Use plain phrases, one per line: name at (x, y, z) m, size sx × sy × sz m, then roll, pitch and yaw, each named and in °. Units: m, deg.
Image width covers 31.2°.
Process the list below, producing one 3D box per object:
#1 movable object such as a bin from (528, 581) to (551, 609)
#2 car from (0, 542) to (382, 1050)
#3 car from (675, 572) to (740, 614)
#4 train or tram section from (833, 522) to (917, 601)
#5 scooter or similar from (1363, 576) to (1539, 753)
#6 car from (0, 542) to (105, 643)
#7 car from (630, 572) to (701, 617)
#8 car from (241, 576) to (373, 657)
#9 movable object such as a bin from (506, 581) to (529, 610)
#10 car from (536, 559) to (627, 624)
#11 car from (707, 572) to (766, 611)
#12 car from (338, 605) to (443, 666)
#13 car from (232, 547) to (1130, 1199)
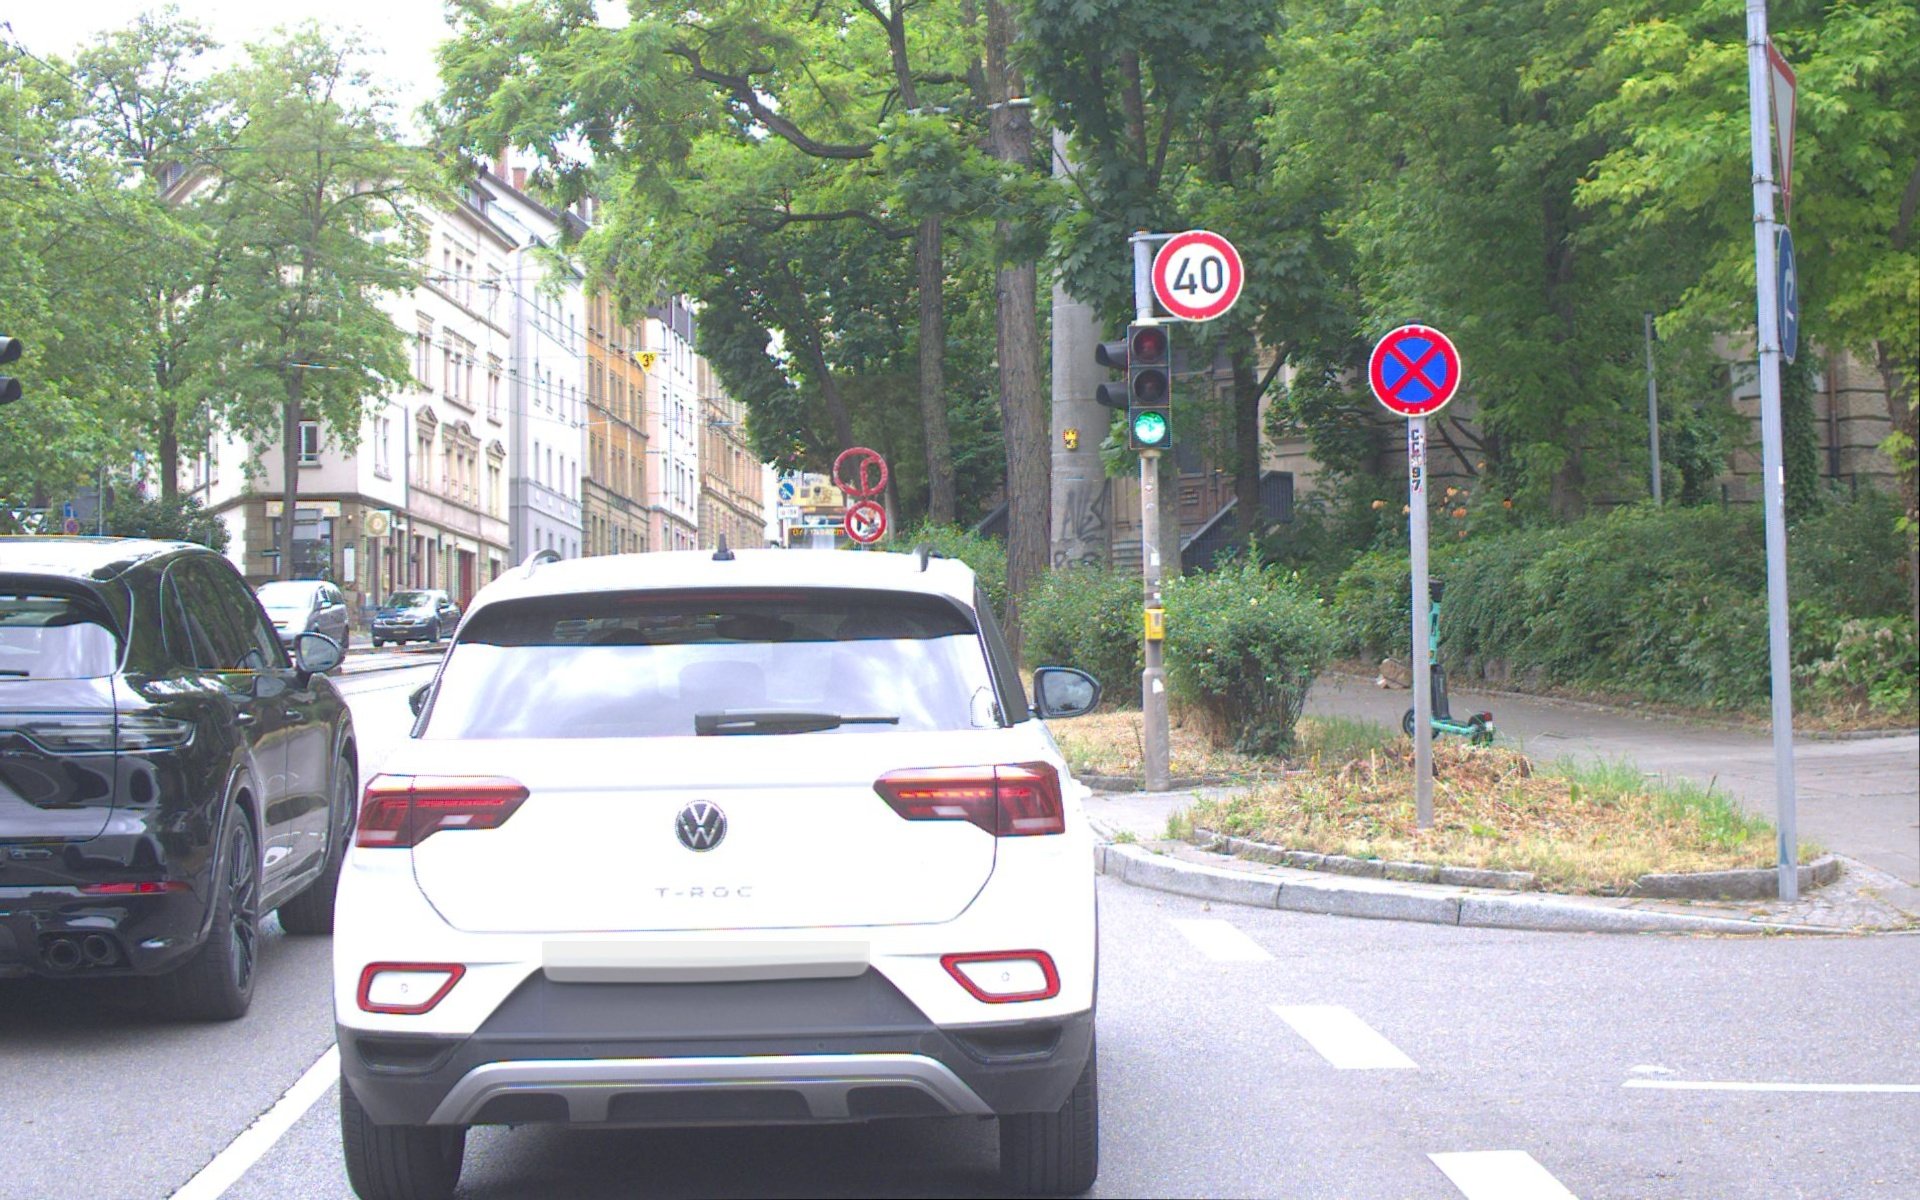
movable object such as a bin at (-16.020, -0.198, 130.995) m, size 0.728 × 1.070 × 0.671 m, roll -1°, pitch 0°, yaw 5°
car at (-3.424, 0.599, 12.822) m, size 2.037 × 1.566 × 4.359 m, roll -1°, pitch 0°, yaw -3°
car at (-9.637, -0.273, 131.416) m, size 1.994 × 1.547 × 4.000 m, roll -1°, pitch 0°, yaw 3°
train or tram section at (-4.157, -1.903, 171.506) m, size 2.883 × 3.713 × 14.854 m, roll 1°, pitch 1°, yaw 3°
scooter or similar at (3.478, 0.442, 24.469) m, size 0.630 × 1.206 × 1.558 m, roll -1°, pitch 0°, yaw -16°
car at (-15.838, -0.127, 56.761) m, size 1.994 × 1.599 × 4.609 m, roll -1°, pitch 1°, yaw 4°
car at (-10.553, -0.211, 123.312) m, size 1.994 × 1.547 × 4.000 m, roll -1°, pitch 0°, yaw 3°
car at (-13.880, 0.333, 73.272) m, size 1.993 × 1.612 × 4.000 m, roll -1°, pitch 0°, yaw 0°
movable object such as a bin at (-16.315, -0.165, 126.765) m, size 0.687 × 1.070 × 0.676 m, roll -1°, pitch 0°, yaw 5°
car at (-11.886, -0.298, 108.280) m, size 1.947 × 1.939 × 5.002 m, roll -1°, pitch 1°, yaw 4°
car at (-9.280, -0.374, 142.982) m, size 1.994 × 1.547 × 4.000 m, roll -1°, pitch 0°, yaw 3°
car at (-14.082, 0.860, 85.218) m, size 1.766 × 1.403 × 4.082 m, roll -1°, pitch 1°, yaw 2°
car at (-0.626, 0.658, 9.272) m, size 1.879 × 1.549 × 4.000 m, roll -1°, pitch 0°, yaw -1°
